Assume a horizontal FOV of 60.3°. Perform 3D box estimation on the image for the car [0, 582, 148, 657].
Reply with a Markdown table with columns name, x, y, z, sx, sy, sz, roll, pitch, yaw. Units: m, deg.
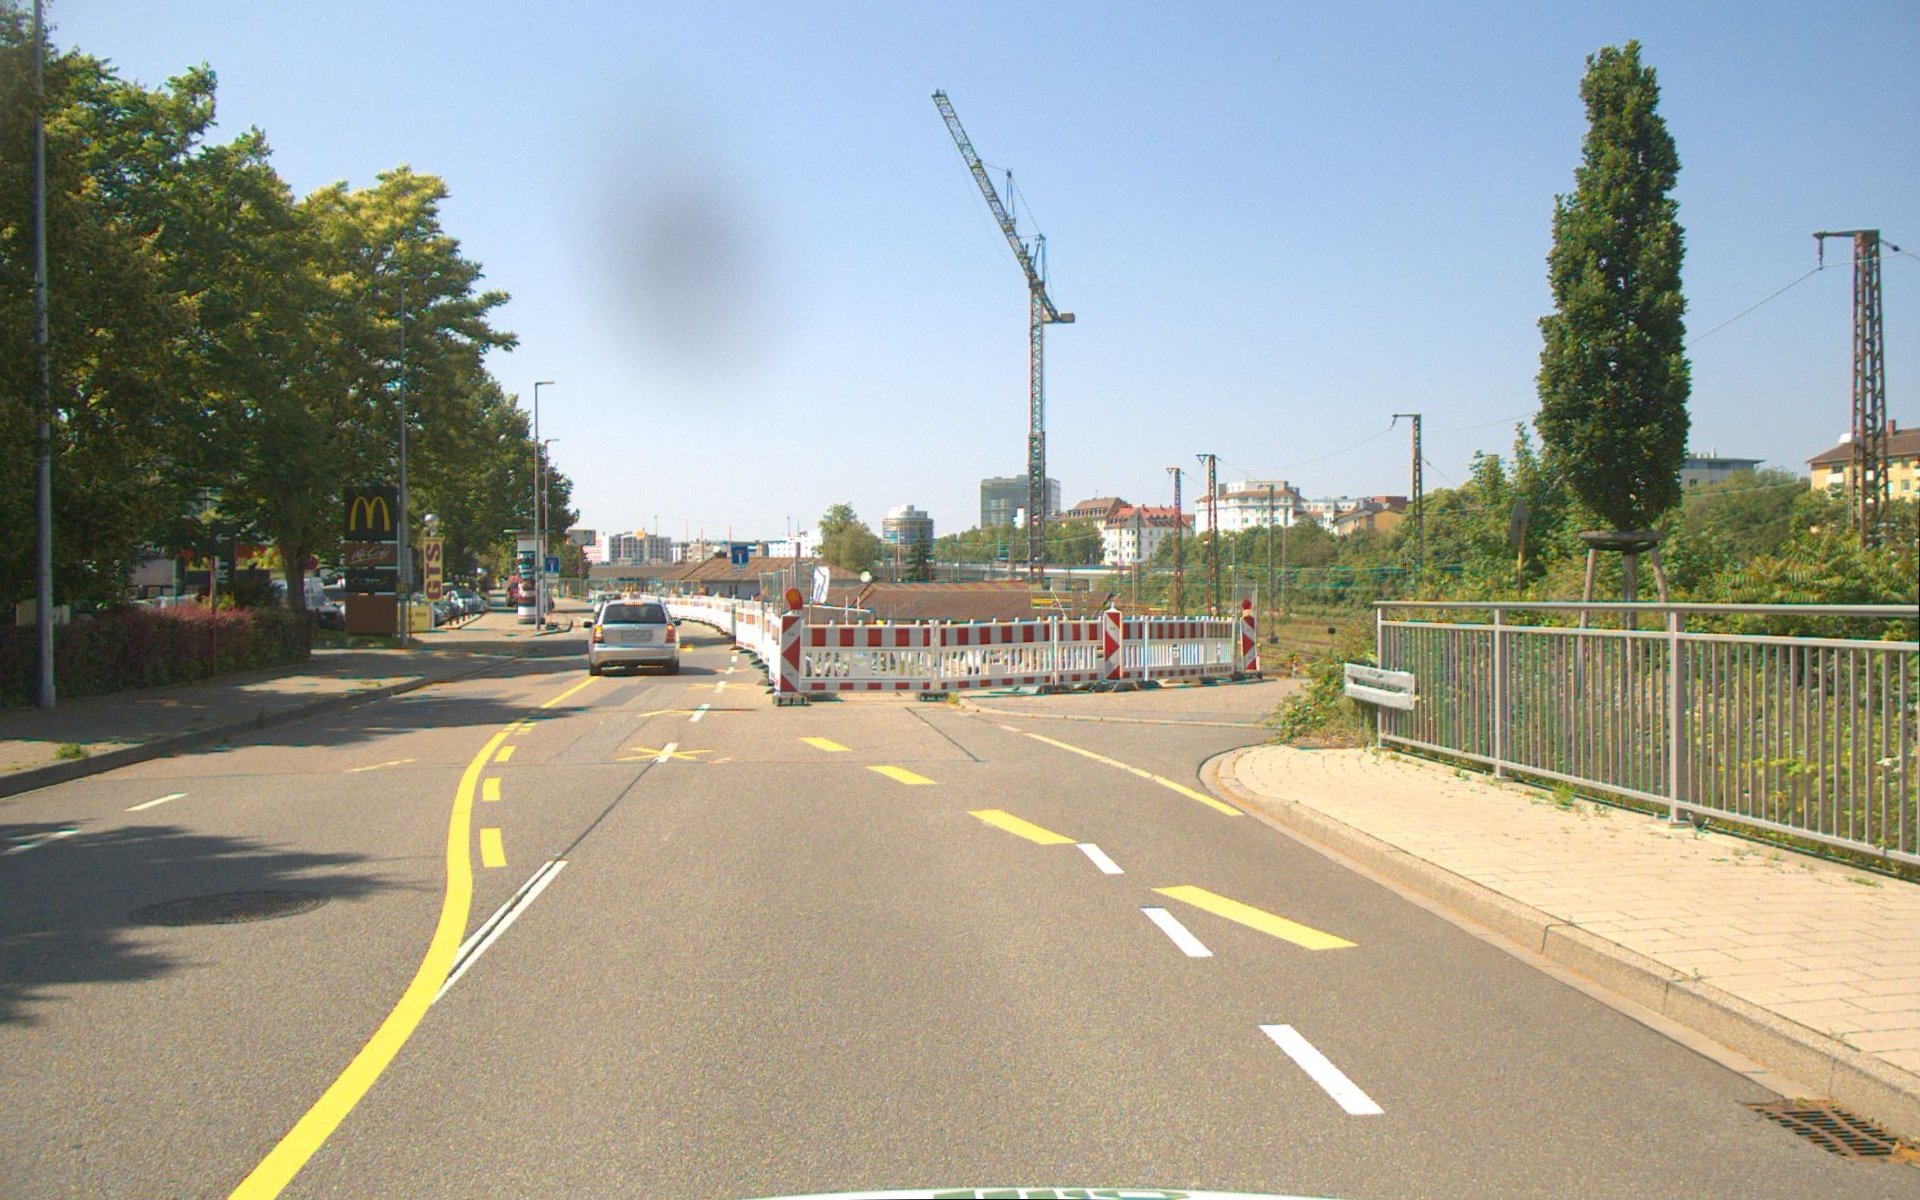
| name | x | y | z | sx | sy | sz | roll | pitch | yaw |
| --- | --- | --- | --- | --- | --- | --- | --- | --- | --- |
| car | -27.660 | 0.613 | 51.378 | 4.420 | 1.953 | 1.892 | -4 | 1 | 24 |

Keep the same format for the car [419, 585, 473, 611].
| name | x | y | z | sx | sy | sz | roll | pitch | yaw |
| --- | --- | --- | --- | --- | --- | --- | --- | --- | --- |
| car | -39.999 | -0.173 | 128.685 | 3.868 | 1.993 | 1.747 | 0 | 0 | -22 |

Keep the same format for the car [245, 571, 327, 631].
| name | x | y | z | sx | sy | sz | roll | pitch | yaw |
| --- | --- | --- | --- | --- | --- | --- | --- | --- | --- |
| car | -33.621 | 0.073 | 82.699 | 2.233 | 2.806 | 6.143 | -2 | 0 | -7 |

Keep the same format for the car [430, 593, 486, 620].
| name | x | y | z | sx | sy | sz | roll | pitch | yaw |
| --- | --- | --- | --- | --- | --- | --- | --- | --- | --- |
| car | -31.164 | 0.388 | 102.680 | 1.768 | 1.498 | 3.938 | -4 | 2 | -42 |

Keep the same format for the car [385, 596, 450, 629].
| name | x | y | z | sx | sy | sz | roll | pitch | yaw |
| --- | --- | --- | --- | --- | --- | --- | --- | --- | --- |
| car | -26.562 | 0.620 | 80.912 | 1.823 | 1.498 | 3.947 | -4 | 2 | -37 |

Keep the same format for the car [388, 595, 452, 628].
| name | x | y | z | sx | sy | sz | roll | pitch | yaw |
| --- | --- | --- | --- | --- | --- | --- | --- | --- | --- |
| car | -28.156 | 0.615 | 86.193 | 1.769 | 1.498 | 3.942 | -5 | 2 | -40 |

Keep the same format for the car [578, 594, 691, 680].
| name | x | y | z | sx | sy | sz | roll | pitch | yaw |
| --- | --- | --- | --- | --- | --- | --- | --- | --- | --- |
| car | -6.237 | 0.649 | 32.068 | 1.675 | 1.428 | 4.381 | -2 | 1 | -6 |

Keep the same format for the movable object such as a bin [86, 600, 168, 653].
| name | x | y | z | sx | sy | sz | roll | pitch | yaw |
| --- | --- | --- | --- | --- | --- | --- | --- | --- | --- |
| movable object such as a bin | -26.967 | 0.850 | 53.574 | 1.732 | 1.552 | 1.457 | -3 | 3 | 11 |

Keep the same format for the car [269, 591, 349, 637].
| name | x | y | z | sx | sy | sz | roll | pitch | yaw |
| --- | --- | --- | --- | --- | --- | --- | --- | --- | --- |
| car | -27.005 | 0.588 | 68.506 | 2.027 | 1.737 | 4.258 | -2 | -1 | -37 |

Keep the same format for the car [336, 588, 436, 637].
| name | x | y | z | sx | sy | sz | roll | pitch | yaw |
| --- | --- | --- | --- | --- | --- | --- | --- | --- | --- |
| car | -24.523 | 0.535 | 70.628 | 4.579 | 1.736 | 1.971 | -5 | -1 | 41 |

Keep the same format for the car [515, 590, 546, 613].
| name | x | y | z | sx | sy | sz | roll | pitch | yaw |
| --- | --- | --- | --- | --- | --- | --- | --- | --- | --- |
| car | -30.810 | 0.089 | 118.734 | 1.836 | 1.524 | 4.020 | -2 | 2 | -11 |

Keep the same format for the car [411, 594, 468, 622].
| name | x | y | z | sx | sy | sz | roll | pitch | yaw |
| --- | --- | --- | --- | --- | --- | --- | --- | --- | --- |
| car | -31.193 | 0.481 | 99.079 | 1.659 | 1.498 | 3.938 | -5 | 2 | -42 |

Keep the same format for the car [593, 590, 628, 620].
| name | x | y | z | sx | sy | sz | roll | pitch | yaw |
| --- | --- | --- | --- | --- | --- | --- | --- | --- | --- |
| car | -19.189 | 0.265 | 90.653 | 1.649 | 1.519 | 4.588 | -2 | 0 | -15 |
